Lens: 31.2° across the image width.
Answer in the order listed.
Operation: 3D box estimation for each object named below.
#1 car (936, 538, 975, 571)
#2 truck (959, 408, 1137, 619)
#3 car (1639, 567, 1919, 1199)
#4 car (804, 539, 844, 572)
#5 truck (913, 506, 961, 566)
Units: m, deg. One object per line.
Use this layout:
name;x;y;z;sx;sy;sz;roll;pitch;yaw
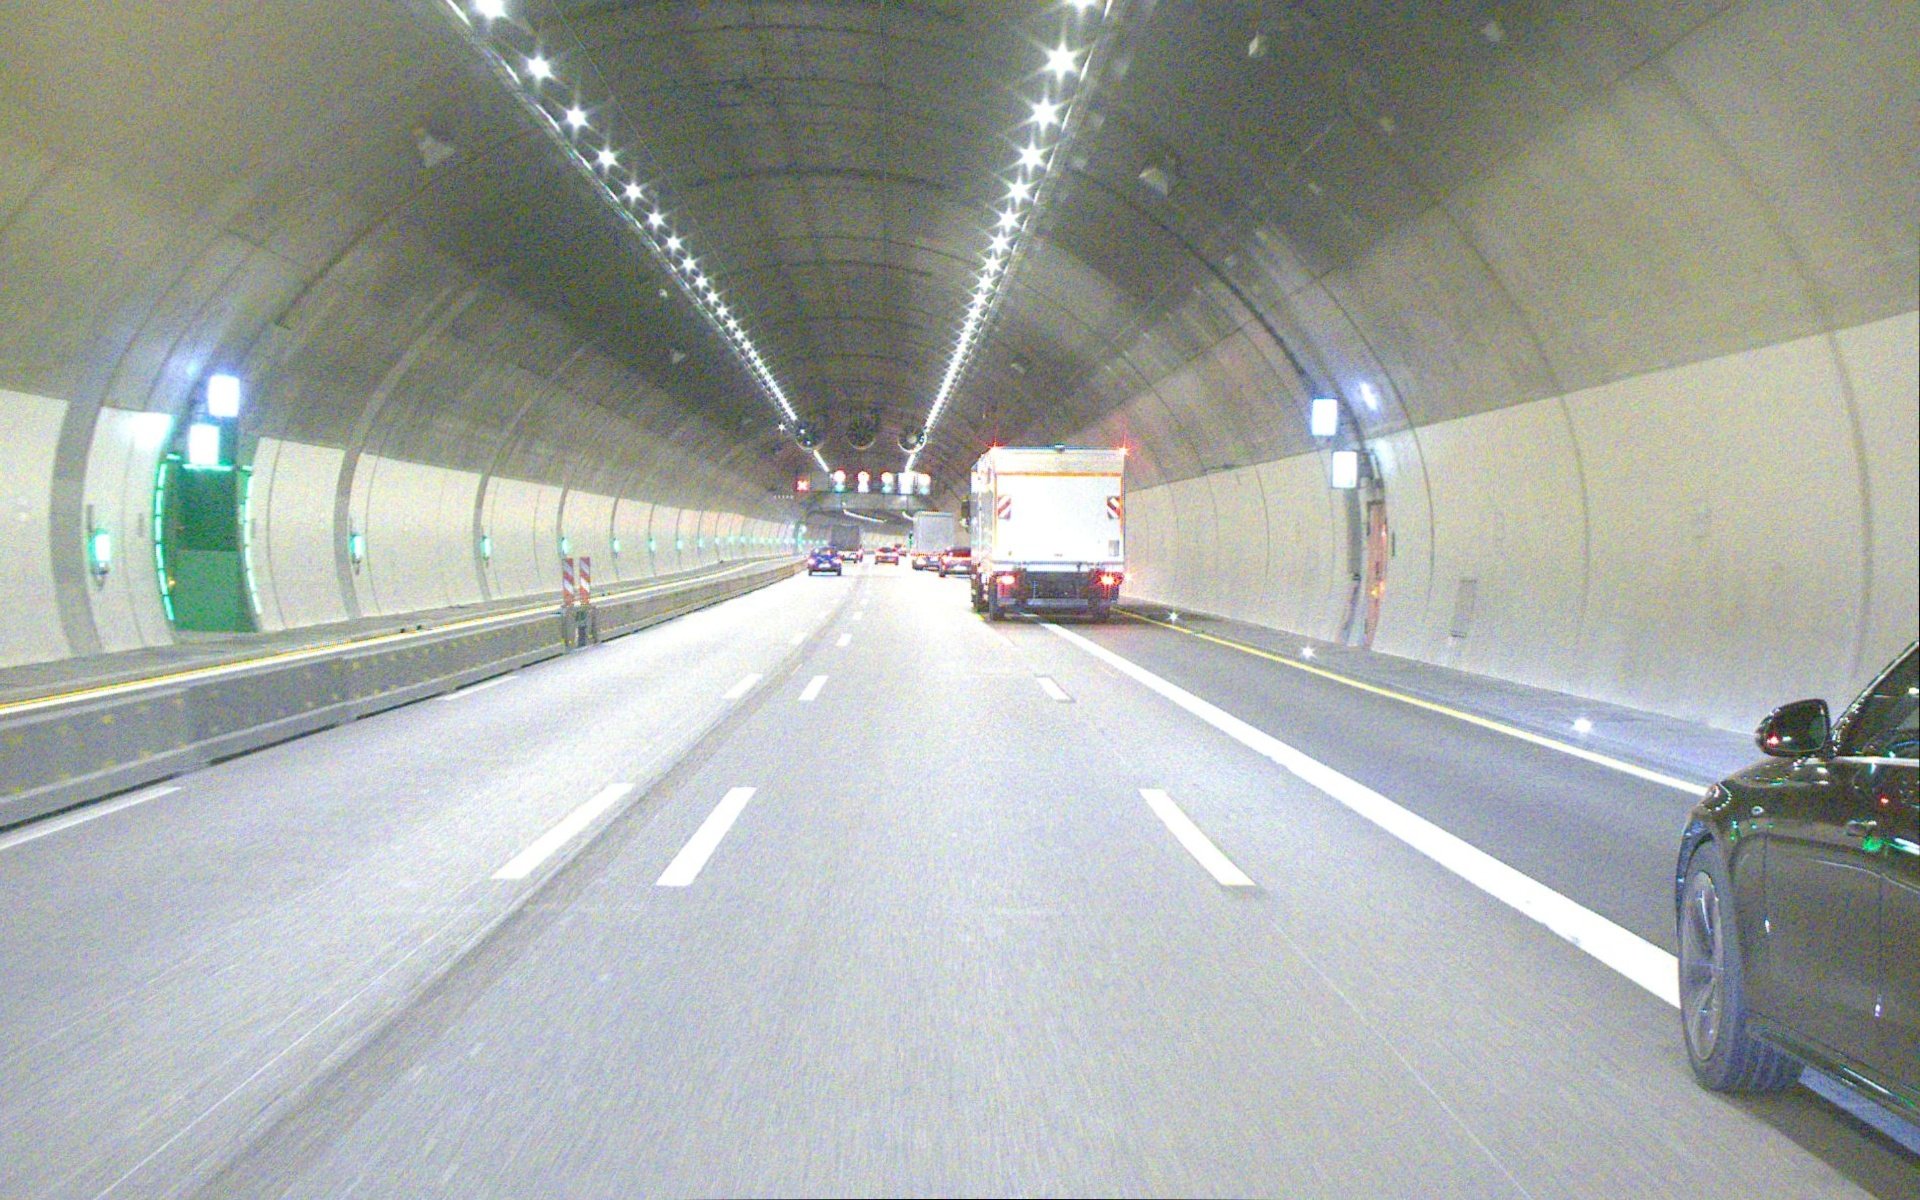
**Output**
car;-0.200;-2.115;158.631;1.739;1.456;3.960;1;2;0
truck;1.661;-1.660;70.298;3.092;3.904;10.368;2;0;-1
car;2.978;0.691;7.691;1.925;1.467;4.954;1;1;0
car;-6.401;-2.108;162.409;1.758;1.456;4.119;1;2;-1
truck;-1.563;-4.407;237.736;3.066;3.904;10.368;2;0;0
